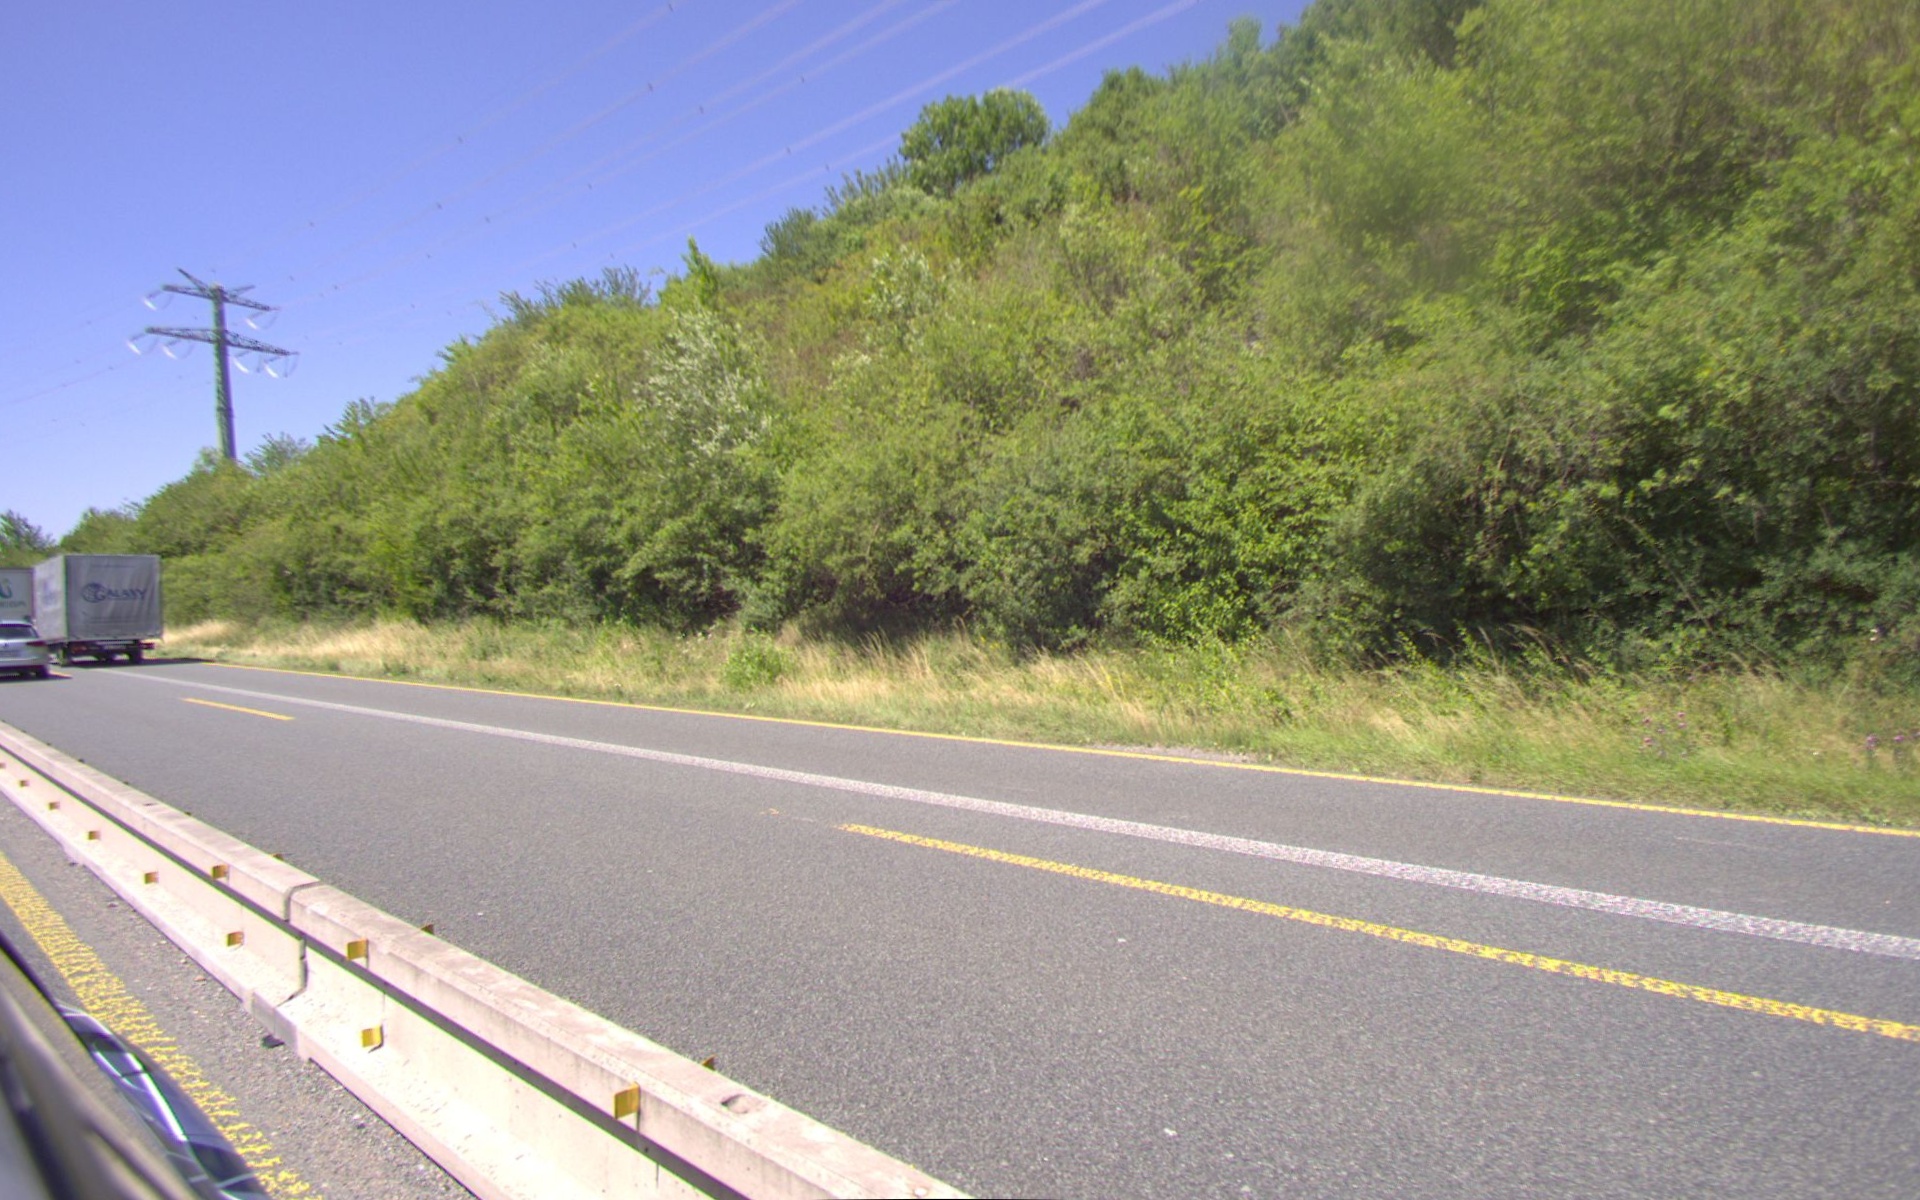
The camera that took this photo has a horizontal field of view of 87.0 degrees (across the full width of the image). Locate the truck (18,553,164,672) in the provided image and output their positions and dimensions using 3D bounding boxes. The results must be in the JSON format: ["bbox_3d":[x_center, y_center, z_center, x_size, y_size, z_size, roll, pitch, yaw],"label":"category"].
[{"bbox_3d":[-27.492,0.389,31.890,7.495,3.355,2.381,-1,0,41],"label":"truck"}]

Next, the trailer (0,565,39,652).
[{"bbox_3d":[-51.280,0.519,53.135,13.238,4.156,2.861,-1,0,41],"label":"trailer"}]

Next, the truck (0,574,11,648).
[{"bbox_3d":[-56.677,0.653,57.930,6.017,4.149,2.864,-1,-1,41],"label":"truck"}]

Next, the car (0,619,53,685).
[{"bbox_3d":[-23.813,1.228,24.771,4.507,1.501,1.823,-1,-1,40],"label":"car"}]
